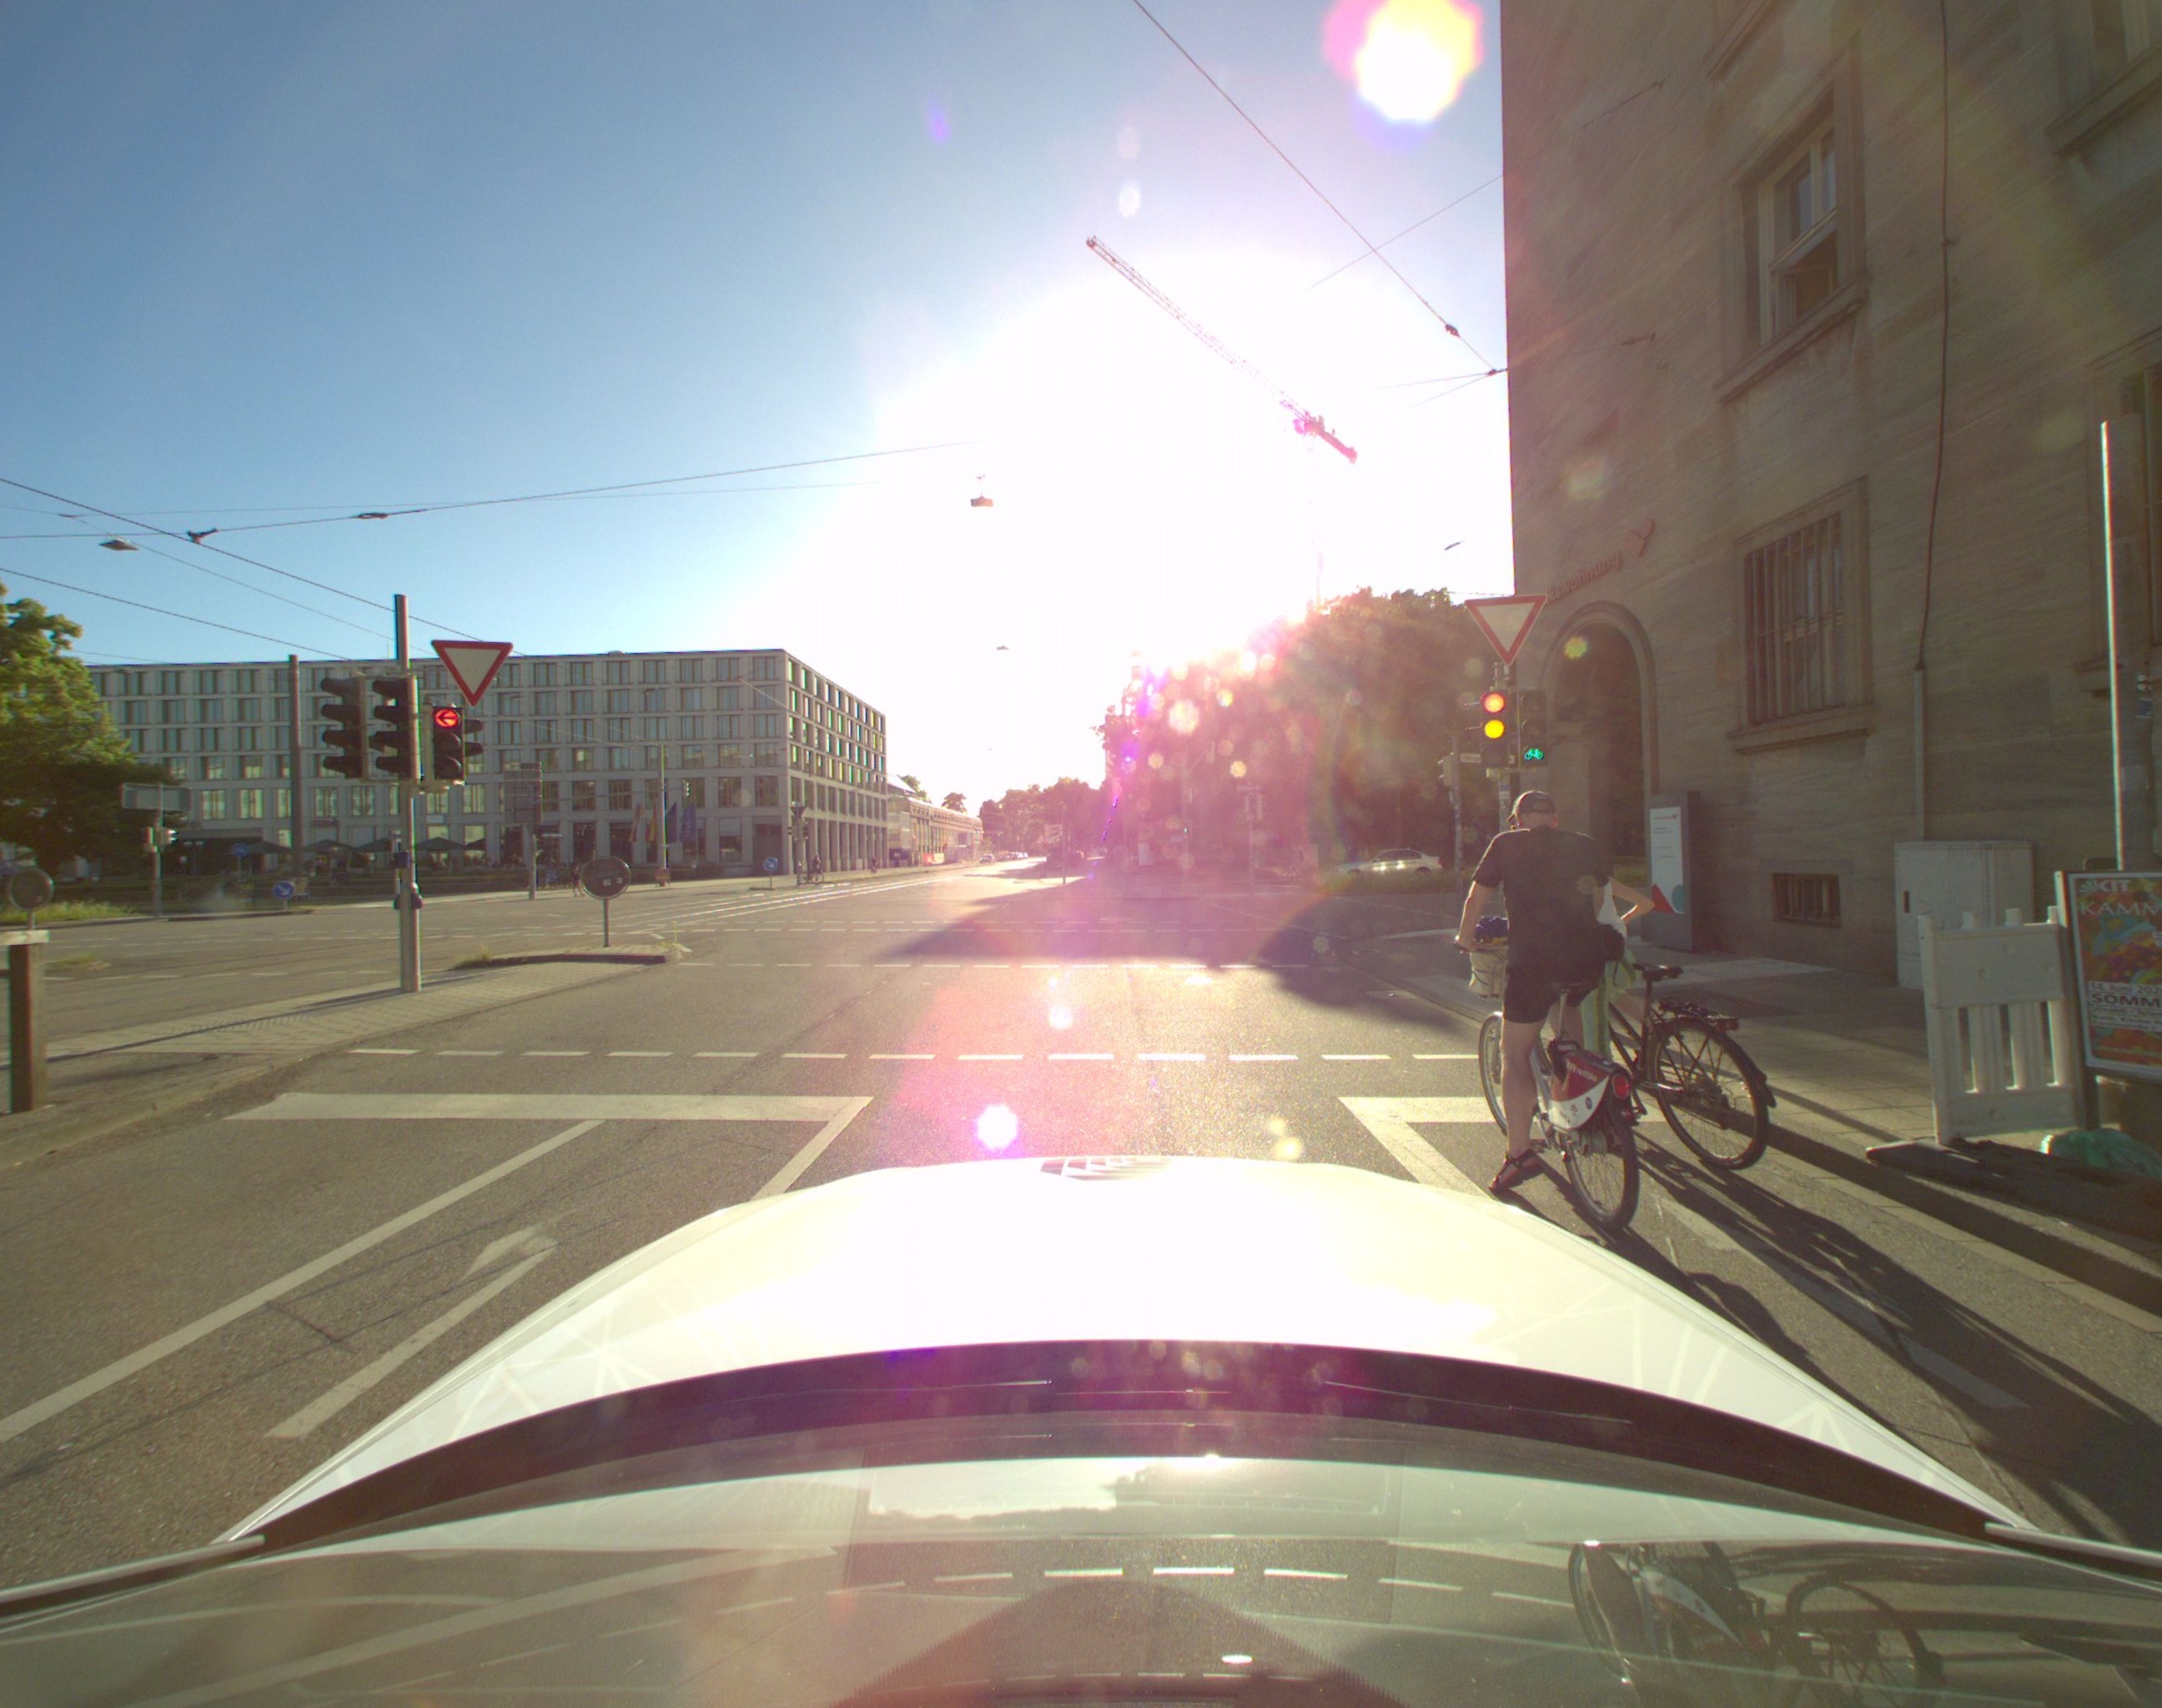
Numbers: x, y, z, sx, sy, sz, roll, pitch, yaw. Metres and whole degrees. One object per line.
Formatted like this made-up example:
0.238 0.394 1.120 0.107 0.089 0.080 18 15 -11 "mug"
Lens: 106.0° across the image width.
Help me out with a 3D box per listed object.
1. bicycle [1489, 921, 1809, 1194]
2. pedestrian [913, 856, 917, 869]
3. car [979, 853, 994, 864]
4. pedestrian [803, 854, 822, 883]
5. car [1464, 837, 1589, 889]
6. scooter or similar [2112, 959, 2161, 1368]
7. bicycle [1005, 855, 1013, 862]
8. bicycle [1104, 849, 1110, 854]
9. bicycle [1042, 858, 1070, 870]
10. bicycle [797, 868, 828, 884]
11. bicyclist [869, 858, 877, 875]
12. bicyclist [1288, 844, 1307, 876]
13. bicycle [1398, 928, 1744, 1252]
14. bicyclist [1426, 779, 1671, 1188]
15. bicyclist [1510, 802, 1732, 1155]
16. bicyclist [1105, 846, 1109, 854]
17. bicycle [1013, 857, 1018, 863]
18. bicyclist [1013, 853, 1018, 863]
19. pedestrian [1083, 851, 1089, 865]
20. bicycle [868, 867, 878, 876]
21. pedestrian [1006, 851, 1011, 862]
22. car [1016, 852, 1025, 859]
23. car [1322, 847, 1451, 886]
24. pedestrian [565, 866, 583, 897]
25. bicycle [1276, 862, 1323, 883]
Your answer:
2.937 0.970 4.462 0.579 1.044 1.748 -2 0 3 "bicycle"
-24.997 1.269 122.687 0.585 1.889 0.478 0 -1 1 "pedestrian"
-15.810 0.751 136.353 1.988 1.599 3.999 -2 0 -1 "car"
-14.629 0.793 44.393 0.735 1.595 0.577 -2 0 29 "pedestrian"
17.889 0.351 32.850 3.970 2.014 2.002 0 -1 3 "car"
3.385 0.879 1.792 0.572 1.149 1.270 -1 -1 -3 "scooter or similar"
-13.377 0.833 150.819 0.746 1.205 3.114 0 -1 7 "bicycle"
6.391 -0.630 200.596 0.890 1.219 2.784 0 -1 -9 "bicycle"
-2.056 0.817 67.422 2.240 0.940 0.653 -2 0 -4 "bicycle"
-14.654 1.184 44.408 1.696 0.823 0.577 -2 0 29 "bicycle"
-18.616 1.114 72.977 0.492 1.498 0.667 -2 0 4 "bicyclist"
9.626 0.266 36.289 0.742 1.406 0.704 -1 -1 8 "bicyclist"
2.191 0.969 3.950 0.621 1.044 1.747 -2 0 1 "bicycle"
2.178 0.549 3.914 0.621 1.715 0.913 -2 0 1 "bicyclist"
2.937 0.620 4.529 0.581 1.738 0.951 -2 0 2 "bicyclist"
6.393 -1.034 200.599 0.891 2.014 0.746 0 -1 -10 "bicyclist"
-12.572 1.193 156.900 0.748 1.205 3.108 0 -1 1 "bicycle"
-12.589 0.818 156.784 0.748 1.920 1.214 0 -1 1 "bicyclist"
0.588 0.470 97.782 0.576 1.689 0.584 -2 0 -6 "pedestrian"
-18.604 1.565 72.957 0.492 0.839 1.158 -2 0 4 "bicycle"
-13.377 0.410 150.890 0.746 2.063 1.052 0 -1 7 "pedestrian"
-14.446 0.305 195.318 1.988 1.644 3.998 -2 0 -1 "car"
12.442 0.504 33.407 4.559 1.516 2.001 0 -1 1 "car"
-28.280 1.527 45.429 0.600 1.681 0.608 -2 0 9 "pedestrian"
9.719 0.829 36.277 1.932 0.889 0.719 -1 -1 8 "bicycle"
